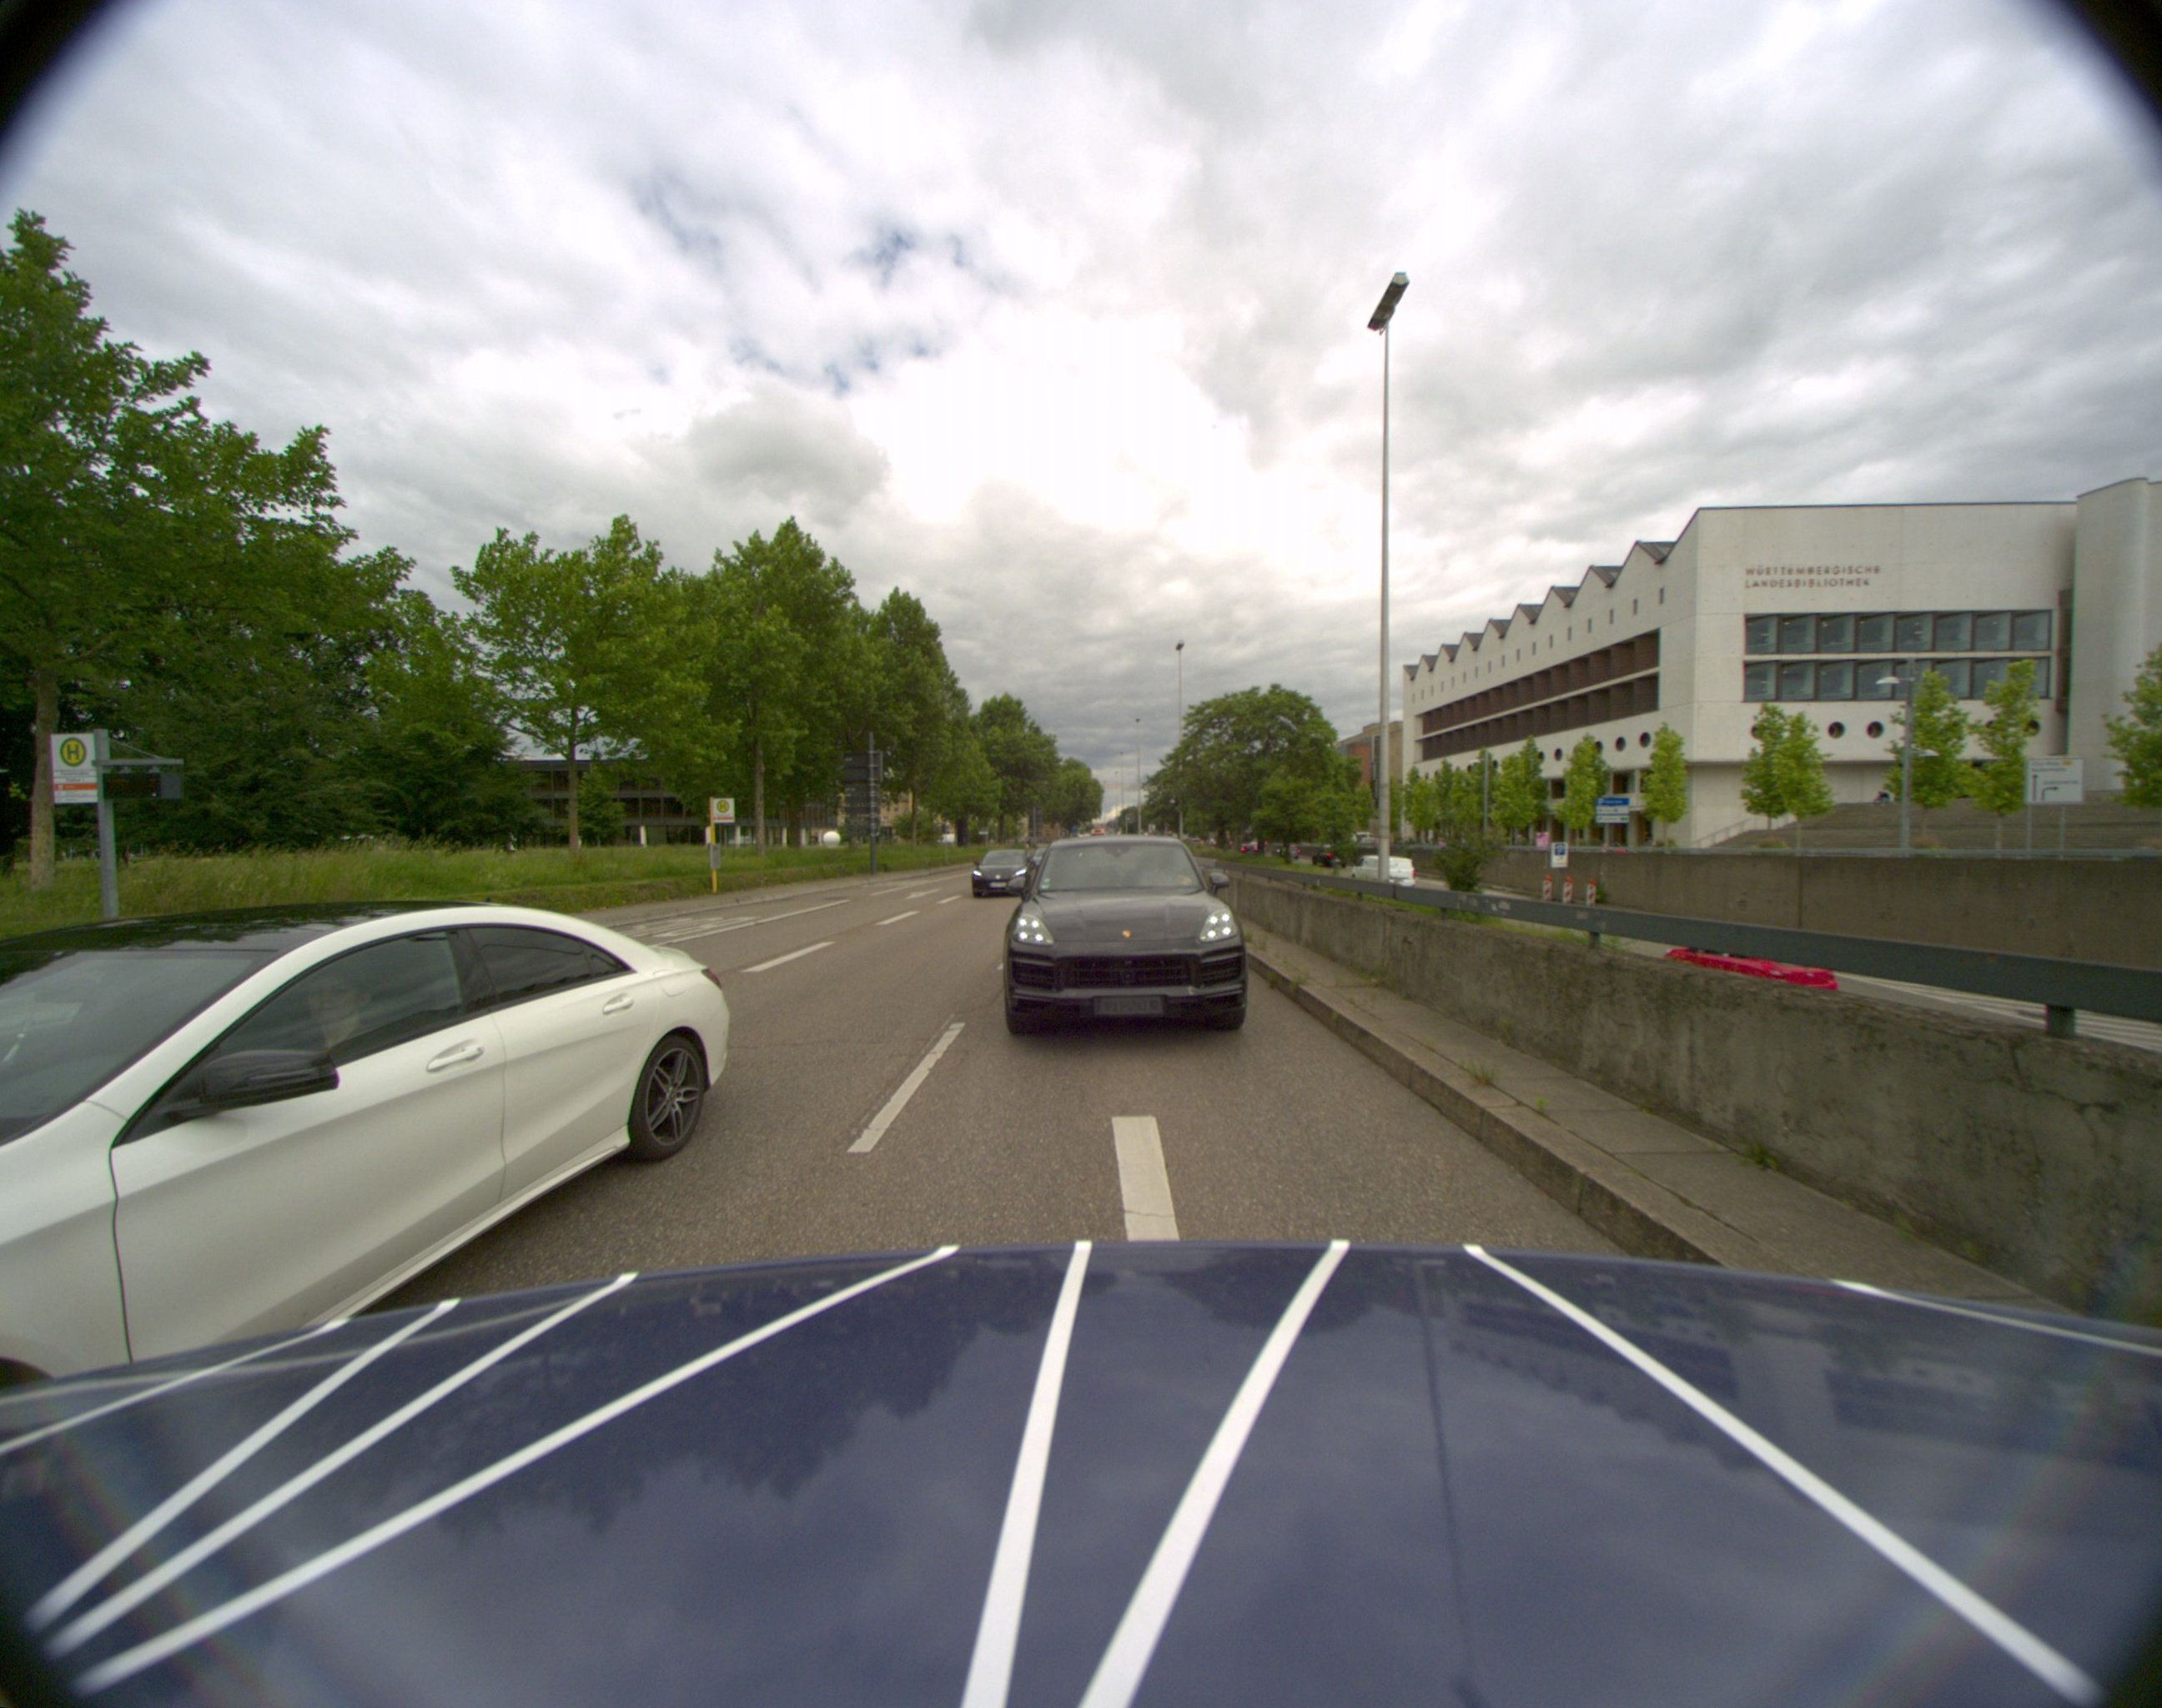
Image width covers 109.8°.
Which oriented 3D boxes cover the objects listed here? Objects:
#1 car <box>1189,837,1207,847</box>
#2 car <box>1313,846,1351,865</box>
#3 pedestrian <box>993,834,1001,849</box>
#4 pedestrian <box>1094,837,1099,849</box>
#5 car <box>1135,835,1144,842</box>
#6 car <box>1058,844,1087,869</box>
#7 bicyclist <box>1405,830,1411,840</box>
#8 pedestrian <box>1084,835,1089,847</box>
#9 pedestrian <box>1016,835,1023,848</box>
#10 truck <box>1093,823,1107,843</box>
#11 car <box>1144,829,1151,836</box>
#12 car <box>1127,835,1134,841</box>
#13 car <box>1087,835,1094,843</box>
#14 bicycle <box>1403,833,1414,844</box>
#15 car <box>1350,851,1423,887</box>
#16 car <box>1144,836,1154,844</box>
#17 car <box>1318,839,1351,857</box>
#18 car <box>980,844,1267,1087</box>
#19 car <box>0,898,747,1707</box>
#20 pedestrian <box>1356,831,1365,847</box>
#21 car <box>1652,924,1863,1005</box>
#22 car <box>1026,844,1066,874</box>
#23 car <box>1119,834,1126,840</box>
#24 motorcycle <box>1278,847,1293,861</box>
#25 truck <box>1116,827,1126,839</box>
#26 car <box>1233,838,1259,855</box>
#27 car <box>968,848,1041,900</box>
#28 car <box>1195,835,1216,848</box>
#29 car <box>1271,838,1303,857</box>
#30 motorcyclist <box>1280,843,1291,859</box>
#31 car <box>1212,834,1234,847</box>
[{"bbox_3d":[17.248,-1.726,111.869,1.998,1.390,3.999,2,1,0],"label":"car"},{"bbox_3d":[21.046,0.107,63.968,1.810,1.321,4.002,0,4,0],"label":"car"},{"bbox_3d":[-11.510,-1.715,104.252,0.892,2.002,1.181,-3,2,2],"label":"pedestrian"},{"bbox_3d":[2.550,-1.803,125.325,0.792,2.002,0.741,-1,0,2],"label":"pedestrian"},{"bbox_3d":[11.367,-2.959,147.010,1.372,1.390,3.721,2,1,0],"label":"car"},{"bbox_3d":[-0.624,0.146,59.557,2.021,1.823,4.804,-1,1,2],"label":"car"},{"bbox_3d":[37.610,-2.177,87.323,0.403,1.154,0.643,-3,2,-1],"label":"bicyclist"},{"bbox_3d":[0.909,-2.139,127.753,0.792,2.002,0.741,-1,0,2],"label":"pedestrian"},{"bbox_3d":[-9.859,-1.969,122.304,0.892,2.002,1.181,-3,2,2],"label":"pedestrian"},{"bbox_3d":[3.579,-3.959,142.826,2.357,3.518,9.423,-3,2,2],"label":"truck"},{"bbox_3d":[18.499,-5.997,211.622,1.609,1.844,3.999,-3,2,2],"label":"car"},{"bbox_3d":[11.223,-3.635,172.145,1.372,1.389,3.722,-1,-1,-1],"label":"car"},{"bbox_3d":[2.660,-4.073,206.455,1.693,2.002,3.999,-3,2,2],"label":"car"},{"bbox_3d":[37.628,-1.792,87.317,0.403,1.265,1.698,-3,2,-1],"label":"bicycle"},{"bbox_3d":[17.665,0.825,44.265,1.999,1.630,5.246,5,3,-1],"label":"car"},{"bbox_3d":[12.044,-2.471,134.676,1.372,1.390,3.721,2,1,0],"label":"car"},{"bbox_3d":[26.210,-0.610,78.720,1.998,1.753,3.999,2,2,0],"label":"car"},{"bbox_3d":[0.414,0.732,7.505,1.904,1.581,4.732,-1,1,3],"label":"car"},{"bbox_3d":[-3.094,1.050,2.489,1.799,1.412,4.526,-1,1,2],"label":"car"},{"bbox_3d":[35.896,-1.937,97.729,0.722,2.002,1.016,-3,2,2],"label":"pedestrian"},{"bbox_3d":[17.286,2.757,19.740,1.998,1.477,4.000,-1,1,2],"label":"car"},{"bbox_3d":[-1.858,0.236,41.425,1.805,1.426,4.015,-1,1,2],"label":"car"},{"bbox_3d":[10.100,-4.212,184.014,1.442,1.390,3.721,2,1,0],"label":"car"},{"bbox_3d":[18.209,-0.028,67.661,0.687,1.092,2.049,3,4,1],"label":"motorcycle"},{"bbox_3d":[11.679,-6.214,220.931,2.576,3.289,8.078,-3,2,2],"label":"truck"},{"bbox_3d":[17.307,-0.824,79.679,1.779,1.481,4.143,0,4,0],"label":"car"},{"bbox_3d":[-2.456,0.597,25.237,1.852,1.481,4.092,-1,1,2],"label":"car"},{"bbox_3d":[16.264,-1.669,99.259,1.998,1.665,4.516,2,1,0],"label":"car"},{"bbox_3d":[20.765,-0.659,76.805,1.875,1.604,4.387,0,4,-2],"label":"car"},{"bbox_3d":[18.218,-0.268,67.678,0.671,1.345,0.717,3,4,0],"label":"motorcyclist"},{"bbox_3d":[20.149,-1.957,107.868,2.161,1.636,4.514,2,3,-1],"label":"car"}]
